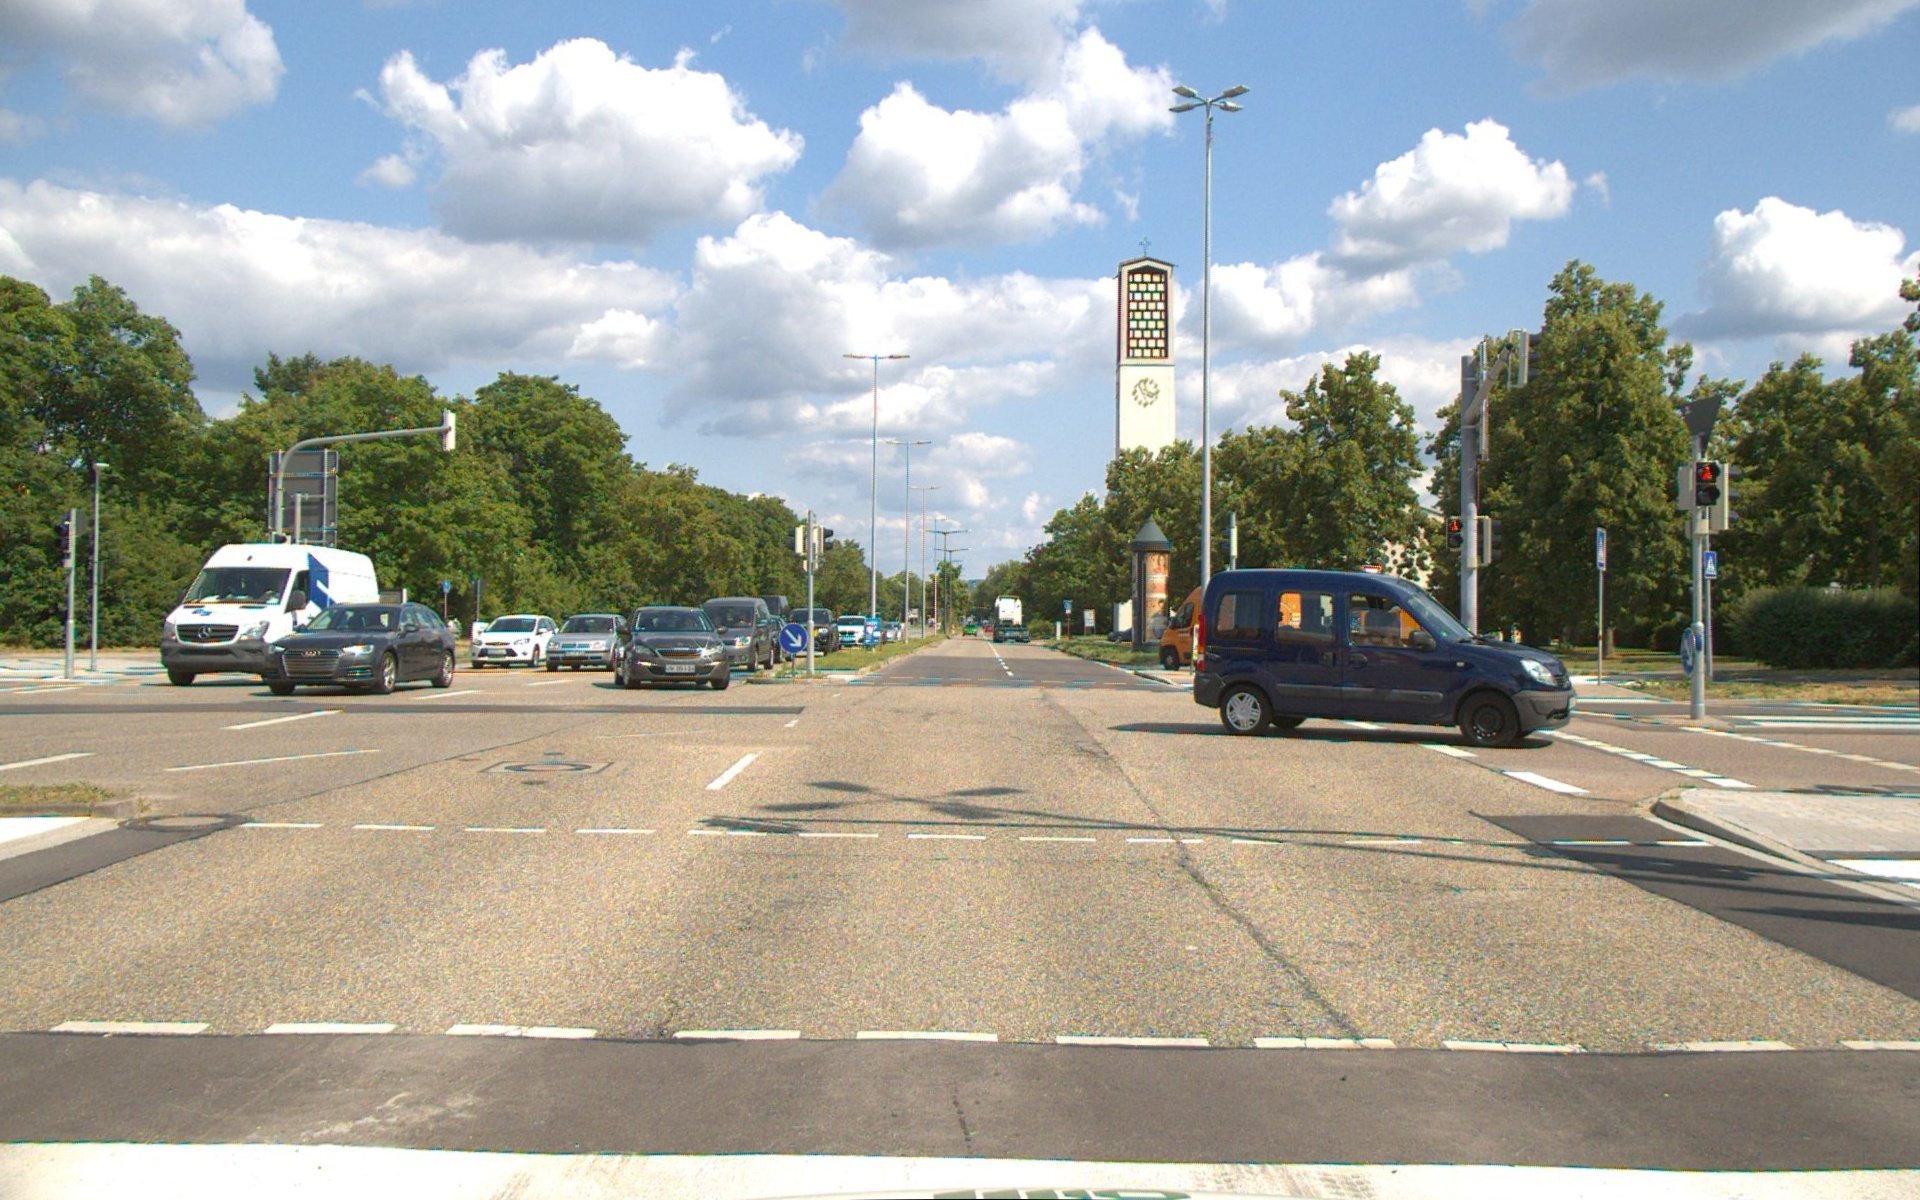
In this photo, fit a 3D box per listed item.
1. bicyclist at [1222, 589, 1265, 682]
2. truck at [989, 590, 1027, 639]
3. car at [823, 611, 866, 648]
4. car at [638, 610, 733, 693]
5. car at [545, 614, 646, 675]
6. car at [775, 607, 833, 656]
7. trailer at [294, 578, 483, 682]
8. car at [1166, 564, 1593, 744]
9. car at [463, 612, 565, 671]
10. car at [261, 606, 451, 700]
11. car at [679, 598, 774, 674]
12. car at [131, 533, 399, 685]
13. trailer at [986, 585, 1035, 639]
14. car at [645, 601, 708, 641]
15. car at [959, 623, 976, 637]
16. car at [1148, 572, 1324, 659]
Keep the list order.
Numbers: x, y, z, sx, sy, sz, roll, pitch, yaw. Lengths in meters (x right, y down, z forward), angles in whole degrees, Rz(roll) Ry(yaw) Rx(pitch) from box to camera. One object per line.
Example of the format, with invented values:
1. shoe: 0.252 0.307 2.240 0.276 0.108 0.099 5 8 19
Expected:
1. bicyclist: 5.666 0.700 33.120 0.770 1.836 0.686 1 -1 3
2. truck: 4.102 1.290 140.214 2.897 4.040 8.640 1 -1 3
3. car: -5.595 1.449 80.367 1.699 1.689 4.230 2 -1 0
4. car: -4.916 0.890 29.539 1.540 1.339 3.423 2 -1 -10
5. car: -9.291 1.113 42.464 1.690 1.422 3.999 2 -1 -1
6. car: -5.724 1.159 61.086 1.699 1.689 4.230 2 -1 -1
7. trailer: -12.569 0.664 36.789 2.080 2.049 5.163 2 -1 3
8. car: 4.501 0.528 17.888 4.139 1.689 1.737 2 -1 30
9. car: -12.636 1.151 47.084 1.820 1.539 3.999 2 -1 -1
10. car: -9.455 0.809 26.181 1.728 1.375 3.518 1 -1 -1
11. car: -5.721 0.835 40.972 1.699 1.689 4.230 2 0 -1
12. car: -12.875 0.202 31.205 2.128 2.514 5.969 2 -1 3
13. trailer: 4.095 1.063 132.205 3.544 4.082 11.322 1 -1 3
14. car: -9.562 0.725 55.973 1.516 1.238 3.489 2 -1 -1
15. car: 0.945 3.700 205.762 1.953 1.579 3.999 2 -1 -1
16. car: 7.653 0.405 46.354 2.184 2.265 4.805 3 -1 -32
